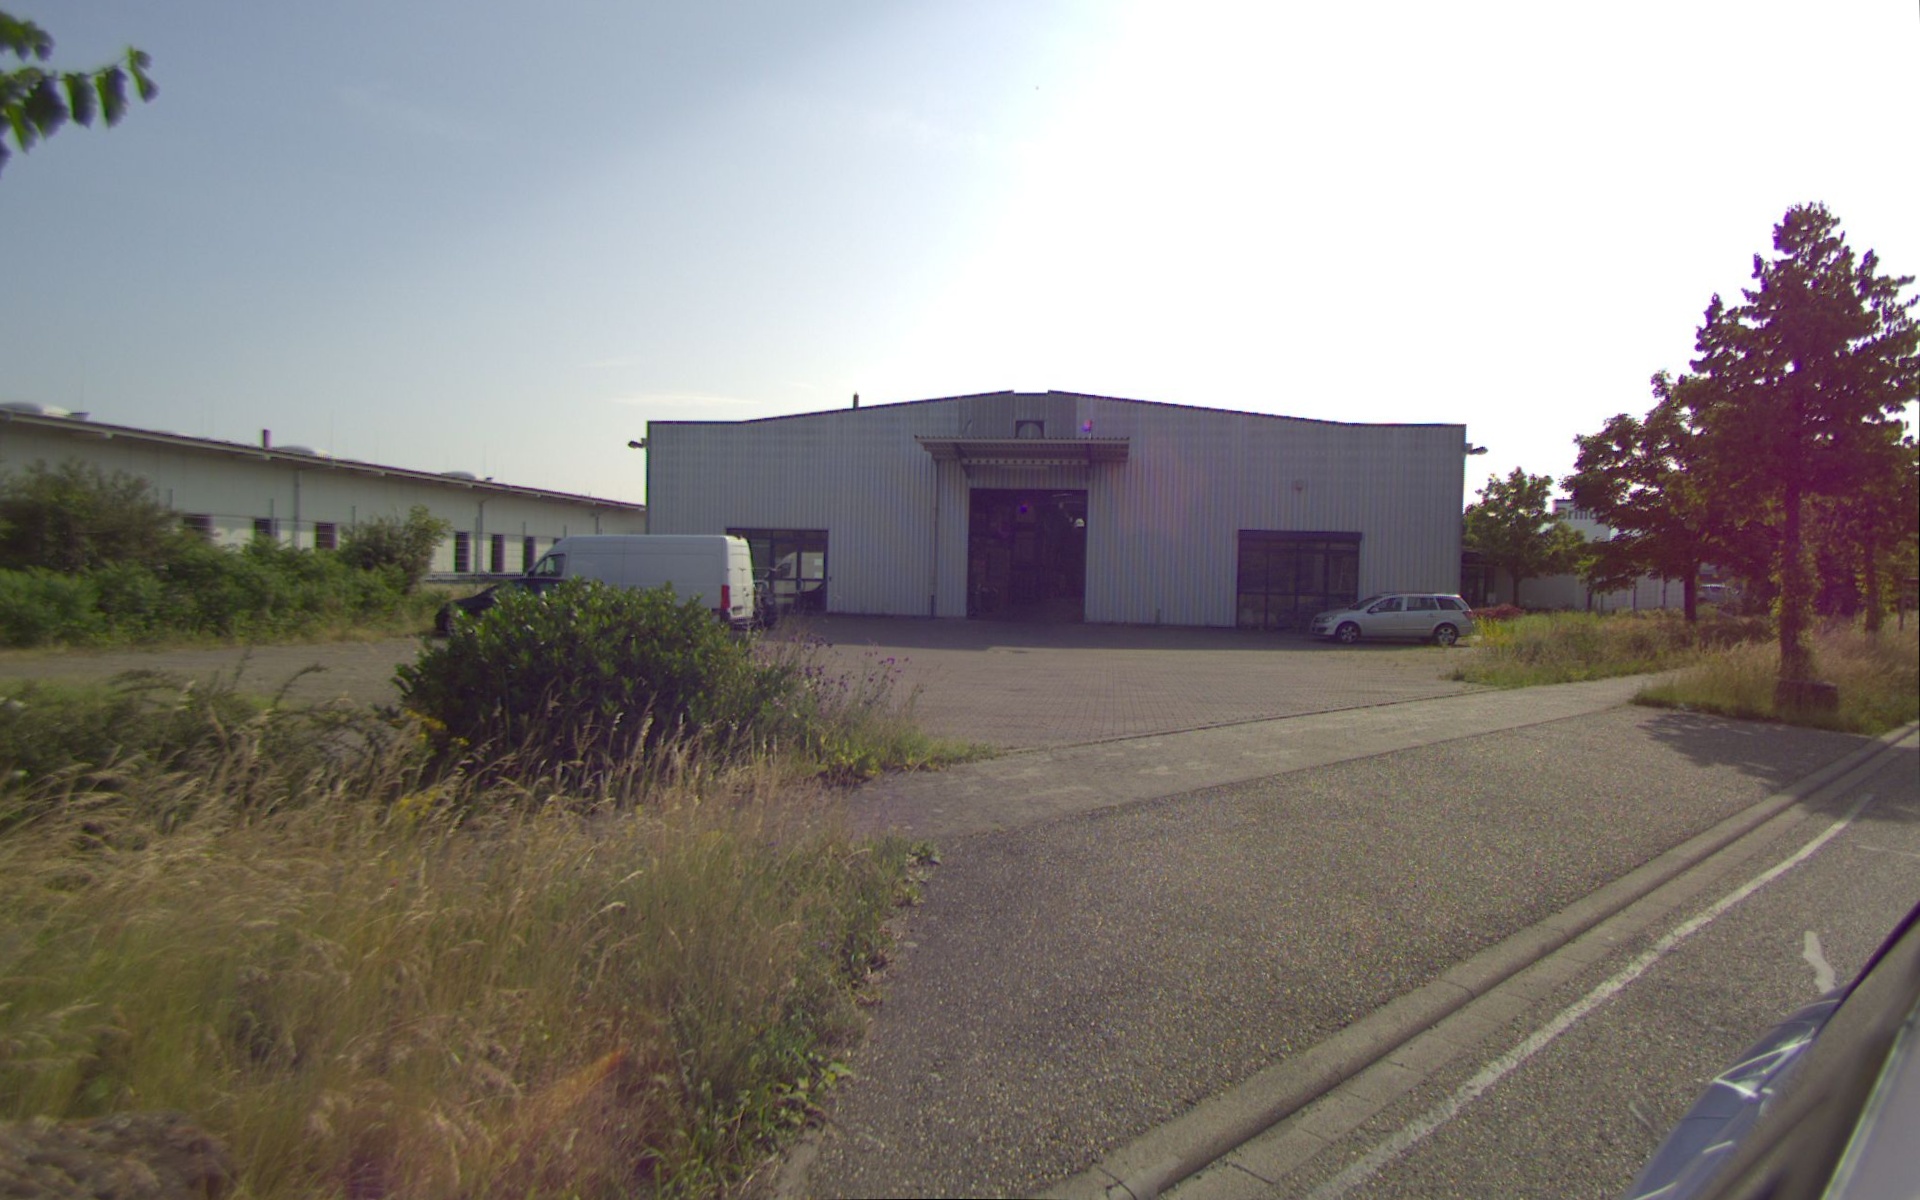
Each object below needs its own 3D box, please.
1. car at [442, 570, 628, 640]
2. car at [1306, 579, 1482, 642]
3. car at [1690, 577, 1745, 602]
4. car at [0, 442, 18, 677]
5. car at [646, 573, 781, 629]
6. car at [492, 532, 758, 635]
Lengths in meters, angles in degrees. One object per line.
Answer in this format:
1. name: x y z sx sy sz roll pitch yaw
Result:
1. car: -9.935 0.105 23.790 3.669 1.490 1.754 1 0 9
2. car: 12.458 0.261 29.294 4.286 1.581 1.757 1 4 8
3. car: 54.759 -0.779 73.189 3.680 1.703 1.603 -1 -1 -25
4. car: -12.109 -0.425 8.411 2.532 2.558 6.032 -1 0 8
5. car: -7.073 0.037 29.168 3.383 1.490 1.699 -1 -1 9
6. car: -8.750 -0.426 26.601 6.452 2.557 2.002 0 1 9
